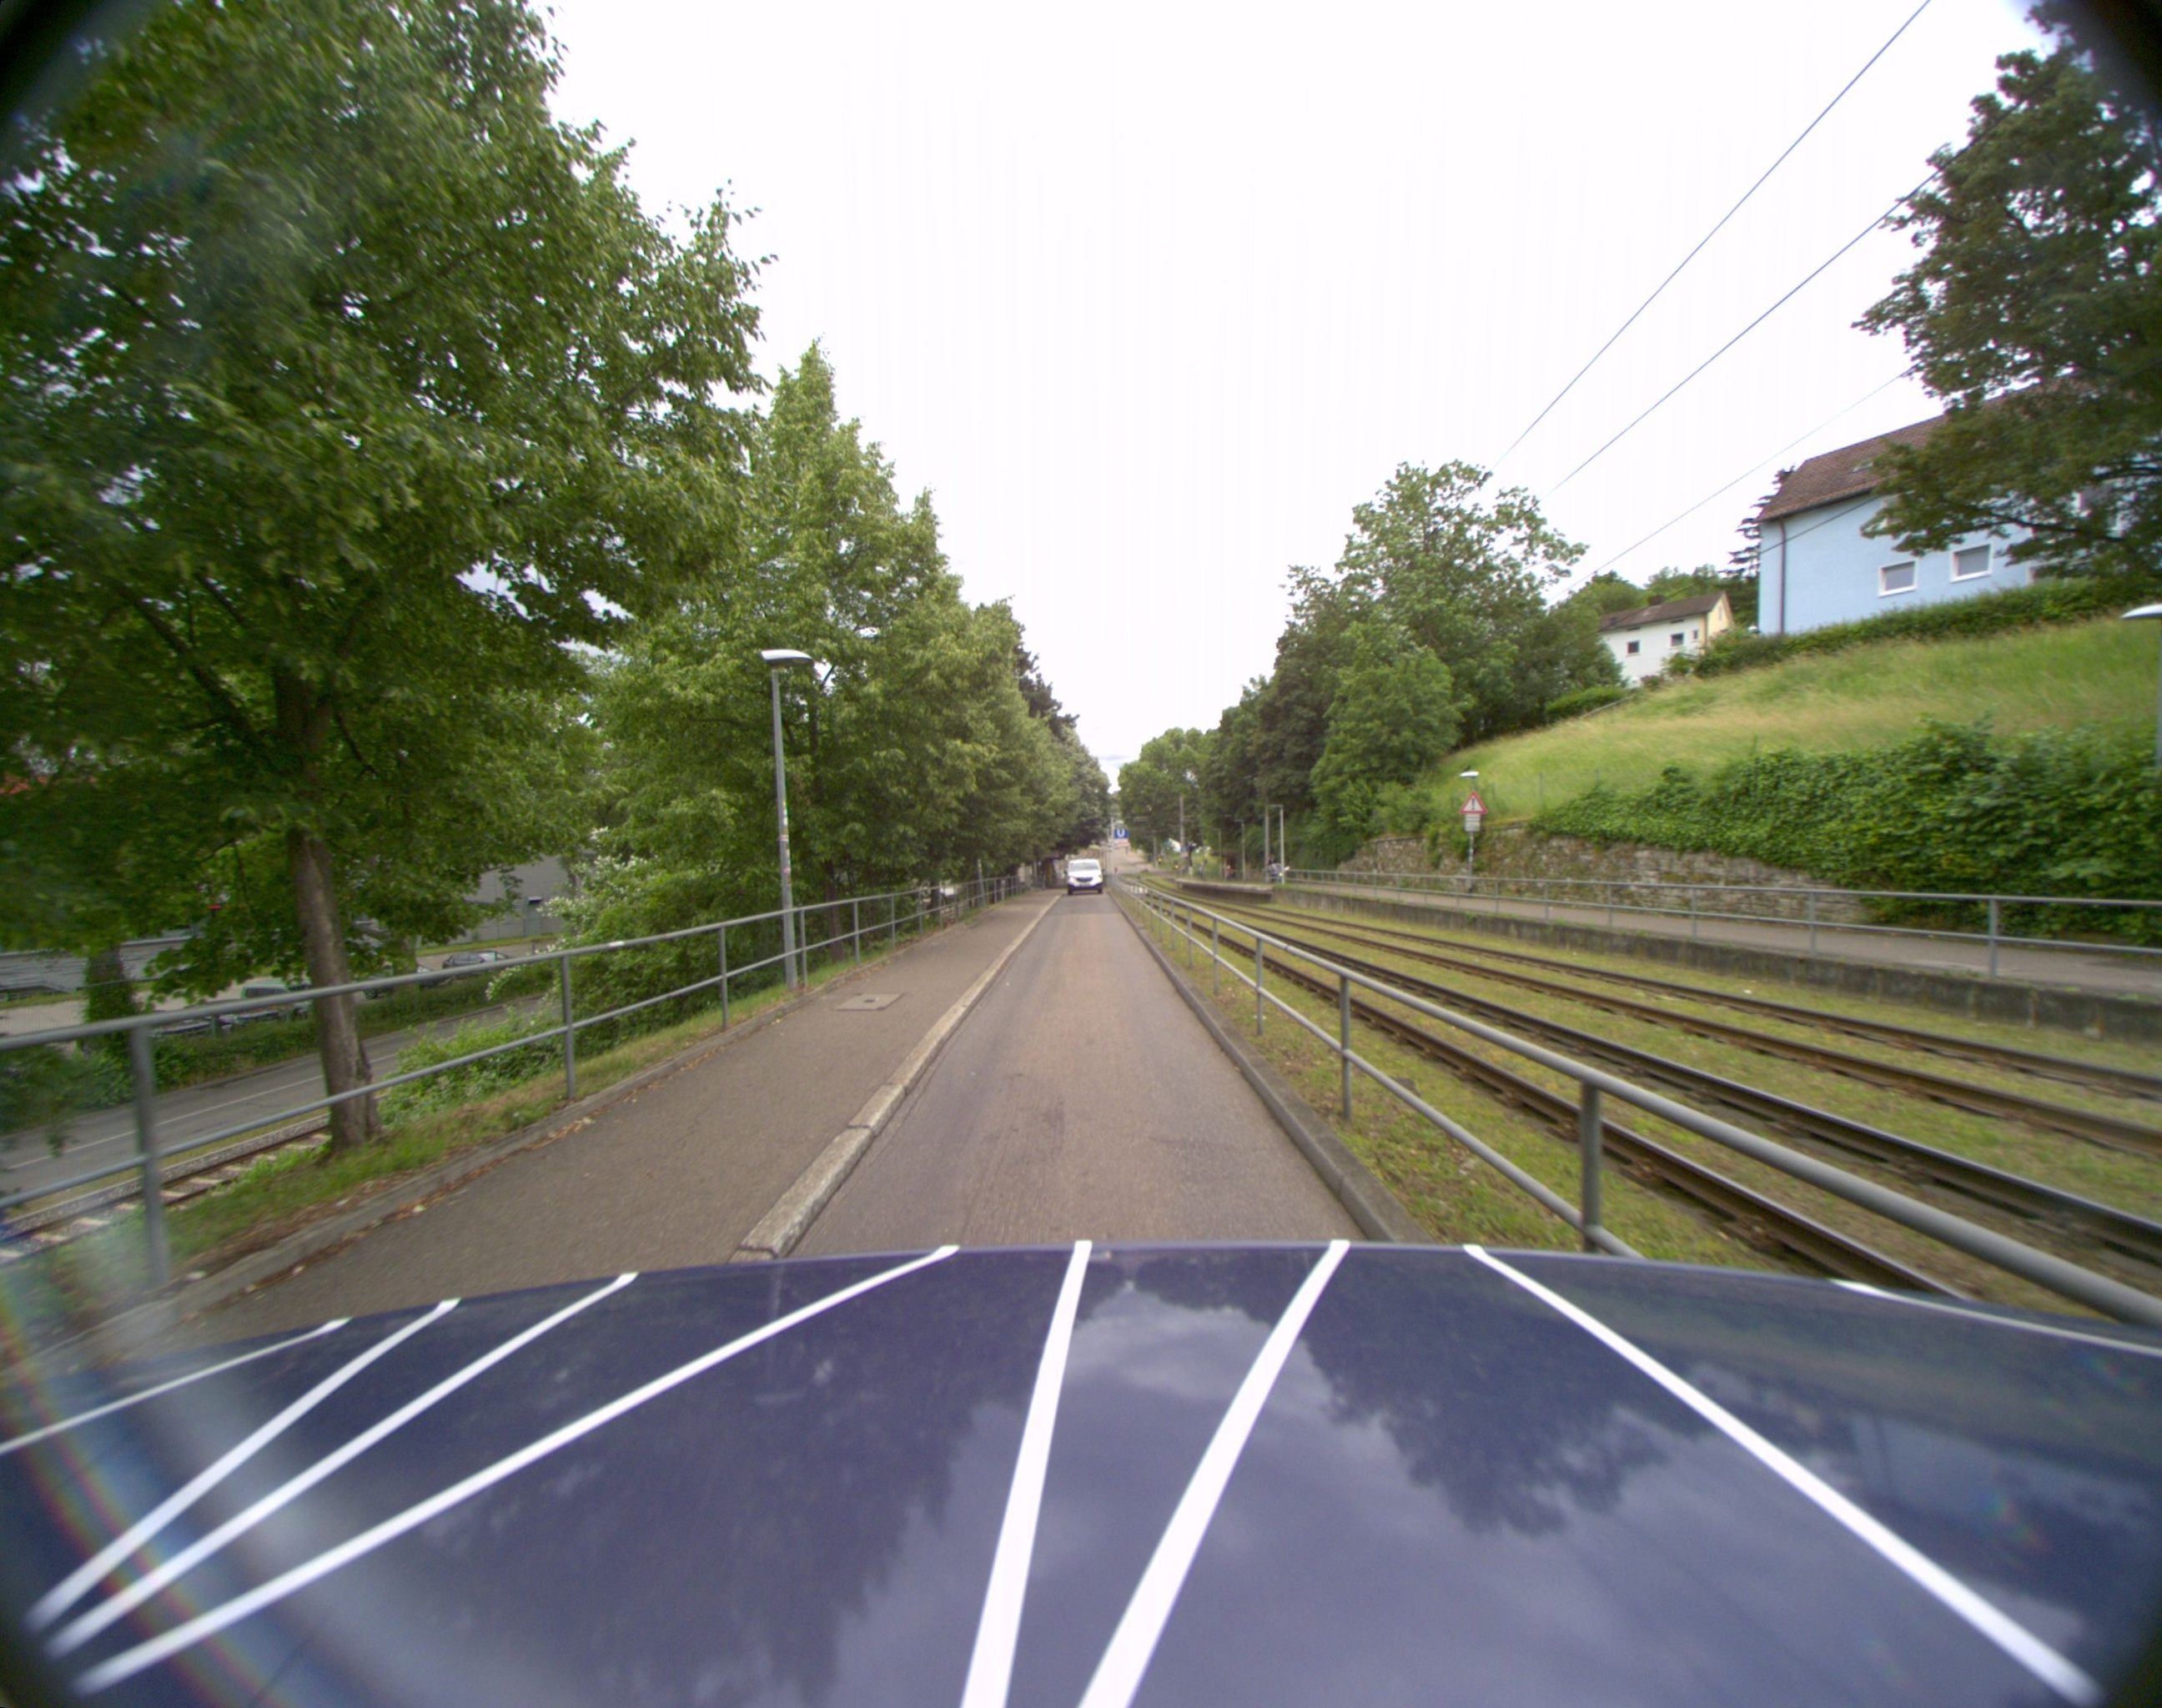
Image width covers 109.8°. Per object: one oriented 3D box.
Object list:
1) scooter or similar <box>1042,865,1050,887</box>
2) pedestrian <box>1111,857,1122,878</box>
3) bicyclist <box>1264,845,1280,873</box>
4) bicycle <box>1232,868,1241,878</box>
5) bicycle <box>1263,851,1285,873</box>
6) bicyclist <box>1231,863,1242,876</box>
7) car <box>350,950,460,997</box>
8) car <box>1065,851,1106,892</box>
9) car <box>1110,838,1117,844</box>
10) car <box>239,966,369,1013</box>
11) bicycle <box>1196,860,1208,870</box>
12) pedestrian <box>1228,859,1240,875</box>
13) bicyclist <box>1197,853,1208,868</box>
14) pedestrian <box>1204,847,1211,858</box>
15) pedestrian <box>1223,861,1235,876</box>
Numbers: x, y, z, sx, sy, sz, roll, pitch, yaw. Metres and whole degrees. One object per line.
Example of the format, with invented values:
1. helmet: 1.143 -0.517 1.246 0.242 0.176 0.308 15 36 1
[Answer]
1. scooter or similar: -2.312 1.456 50.025 0.431 1.376 1.455 -2 1 1
2. pedestrian: 2.611 1.018 55.784 0.739 1.493 0.627 -3 -1 2
3. bicyclist: 11.657 0.318 46.345 0.706 1.618 1.033 -3 -1 4
4. bicycle: 12.933 1.565 63.150 0.451 0.776 1.565 -2 -1 1
5. bicycle: 11.620 0.510 45.761 0.752 1.232 2.868 -3 -1 4
6. bicyclist: 12.943 1.262 63.263 0.691 1.046 0.745 -2 -1 1
7. car: -35.750 6.300 40.254 3.996 2.002 2.000 -2 1 3
8. car: 0.283 0.867 39.508 1.809 1.910 4.479 -2 0 3
9. car: 9.965 -4.013 231.853 1.997 1.648 4.002 -2 0 7
10. car: -36.803 6.411 36.054 4.575 1.781 2.001 -2 1 10
11. bicycle: 12.021 1.070 75.309 0.479 0.919 1.843 -2 -2 -12
12. pedestrian: 13.826 1.147 68.732 0.823 1.367 0.774 -2 1 -5
13. bicyclist: 12.048 0.624 75.208 0.747 1.422 0.907 -2 -2 -12
14. pedestrian: 21.457 -0.278 128.765 1.117 1.724 0.694 -2 1 7
15. pedestrian: 13.632 1.365 69.918 0.823 1.315 0.774 -2 1 -5
